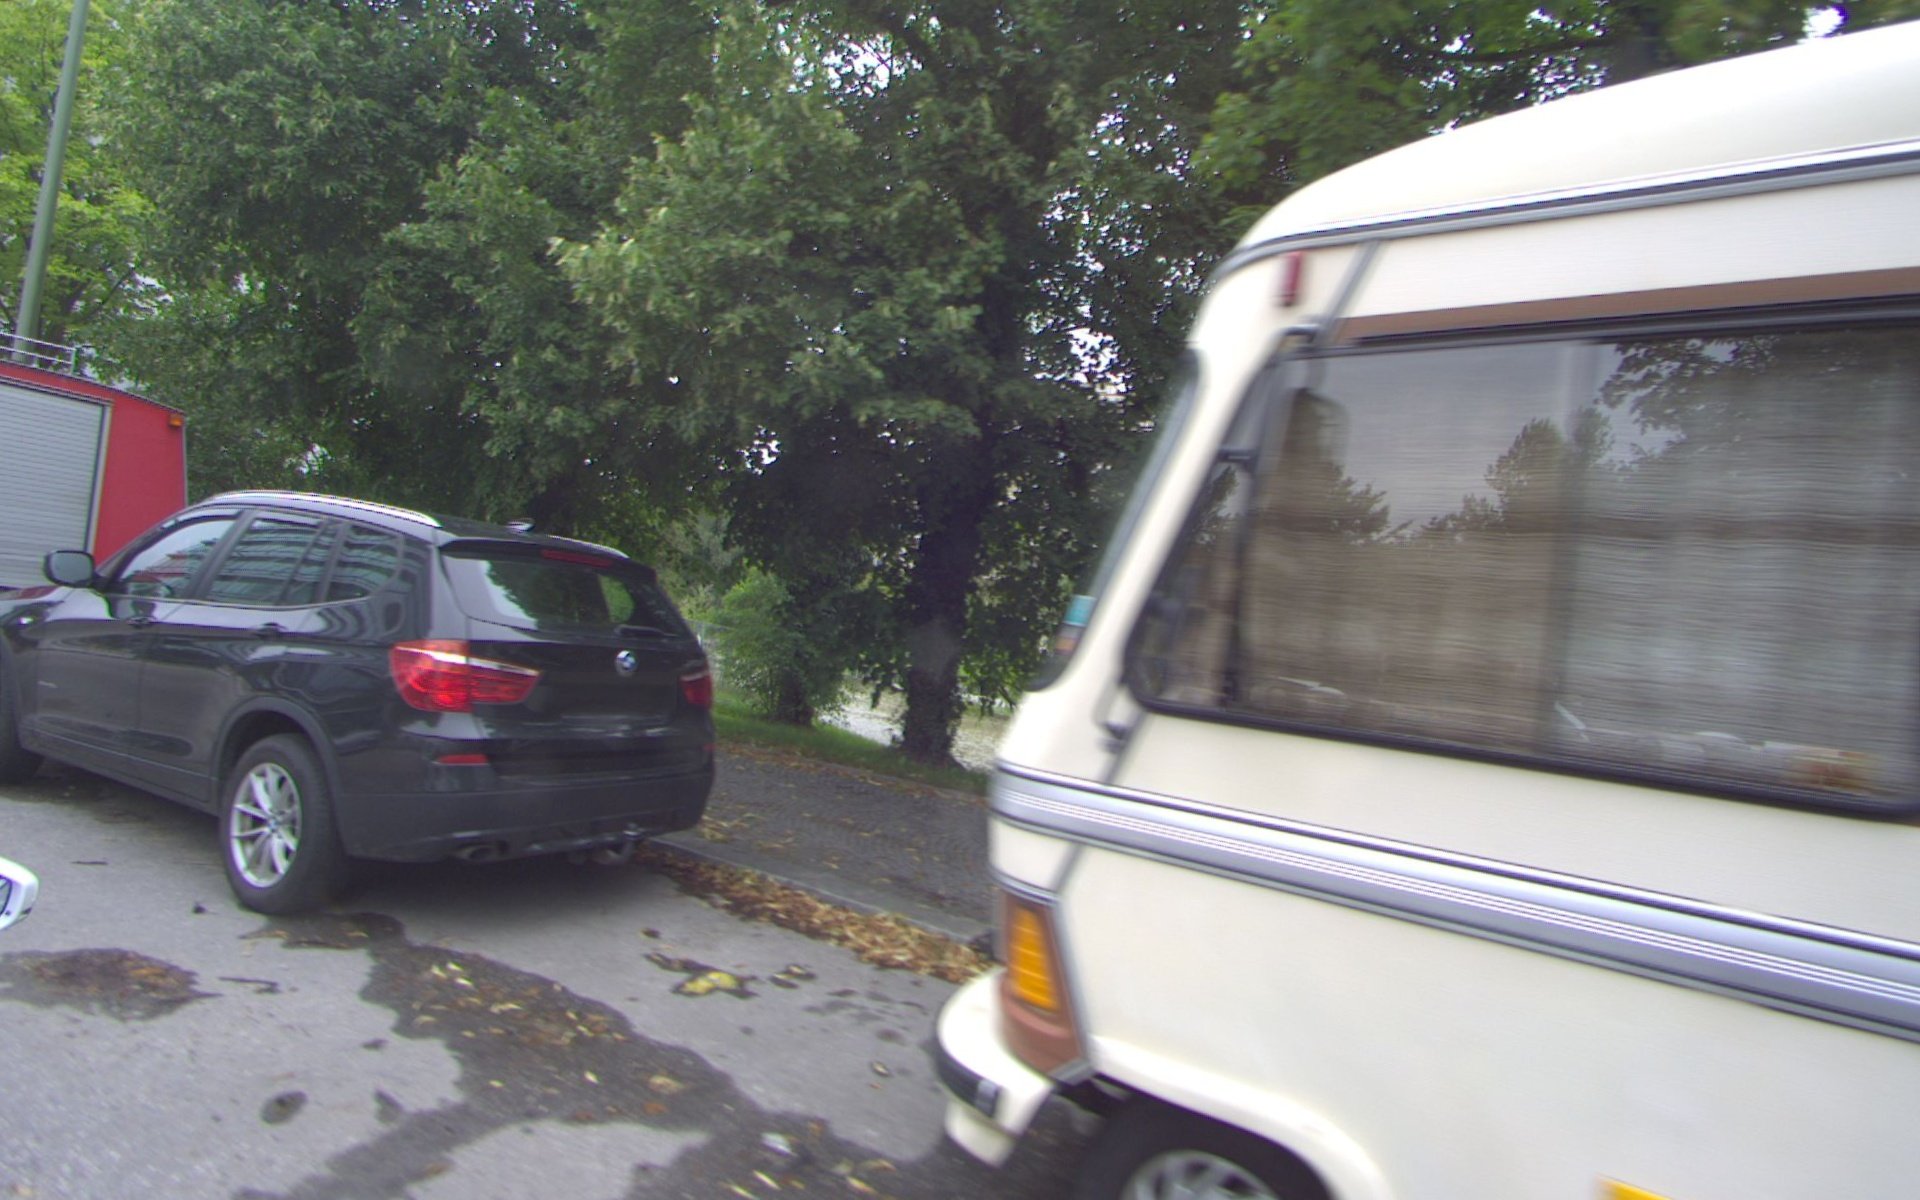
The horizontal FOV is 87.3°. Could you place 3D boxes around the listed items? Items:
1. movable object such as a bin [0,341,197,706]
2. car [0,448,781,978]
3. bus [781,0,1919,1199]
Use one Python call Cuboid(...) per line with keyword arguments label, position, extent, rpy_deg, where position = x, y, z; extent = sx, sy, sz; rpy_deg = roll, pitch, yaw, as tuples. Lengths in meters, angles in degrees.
Cuboid(label="movable object such as a bin", position=(-9.195, -0.832, 8.483), extent=(6.083, 2.487, 2.108), rpy_deg=(7, -1, 31))
Cuboid(label="car", position=(-3.316, 0.293, 5.235), extent=(4.383, 1.669, 1.781), rpy_deg=(7, -1, 28))
Cuboid(label="bus", position=(2.700, 0.414, 1.550), extent=(5.644, 2.731, 2.317), rpy_deg=(7, -1, 36))
